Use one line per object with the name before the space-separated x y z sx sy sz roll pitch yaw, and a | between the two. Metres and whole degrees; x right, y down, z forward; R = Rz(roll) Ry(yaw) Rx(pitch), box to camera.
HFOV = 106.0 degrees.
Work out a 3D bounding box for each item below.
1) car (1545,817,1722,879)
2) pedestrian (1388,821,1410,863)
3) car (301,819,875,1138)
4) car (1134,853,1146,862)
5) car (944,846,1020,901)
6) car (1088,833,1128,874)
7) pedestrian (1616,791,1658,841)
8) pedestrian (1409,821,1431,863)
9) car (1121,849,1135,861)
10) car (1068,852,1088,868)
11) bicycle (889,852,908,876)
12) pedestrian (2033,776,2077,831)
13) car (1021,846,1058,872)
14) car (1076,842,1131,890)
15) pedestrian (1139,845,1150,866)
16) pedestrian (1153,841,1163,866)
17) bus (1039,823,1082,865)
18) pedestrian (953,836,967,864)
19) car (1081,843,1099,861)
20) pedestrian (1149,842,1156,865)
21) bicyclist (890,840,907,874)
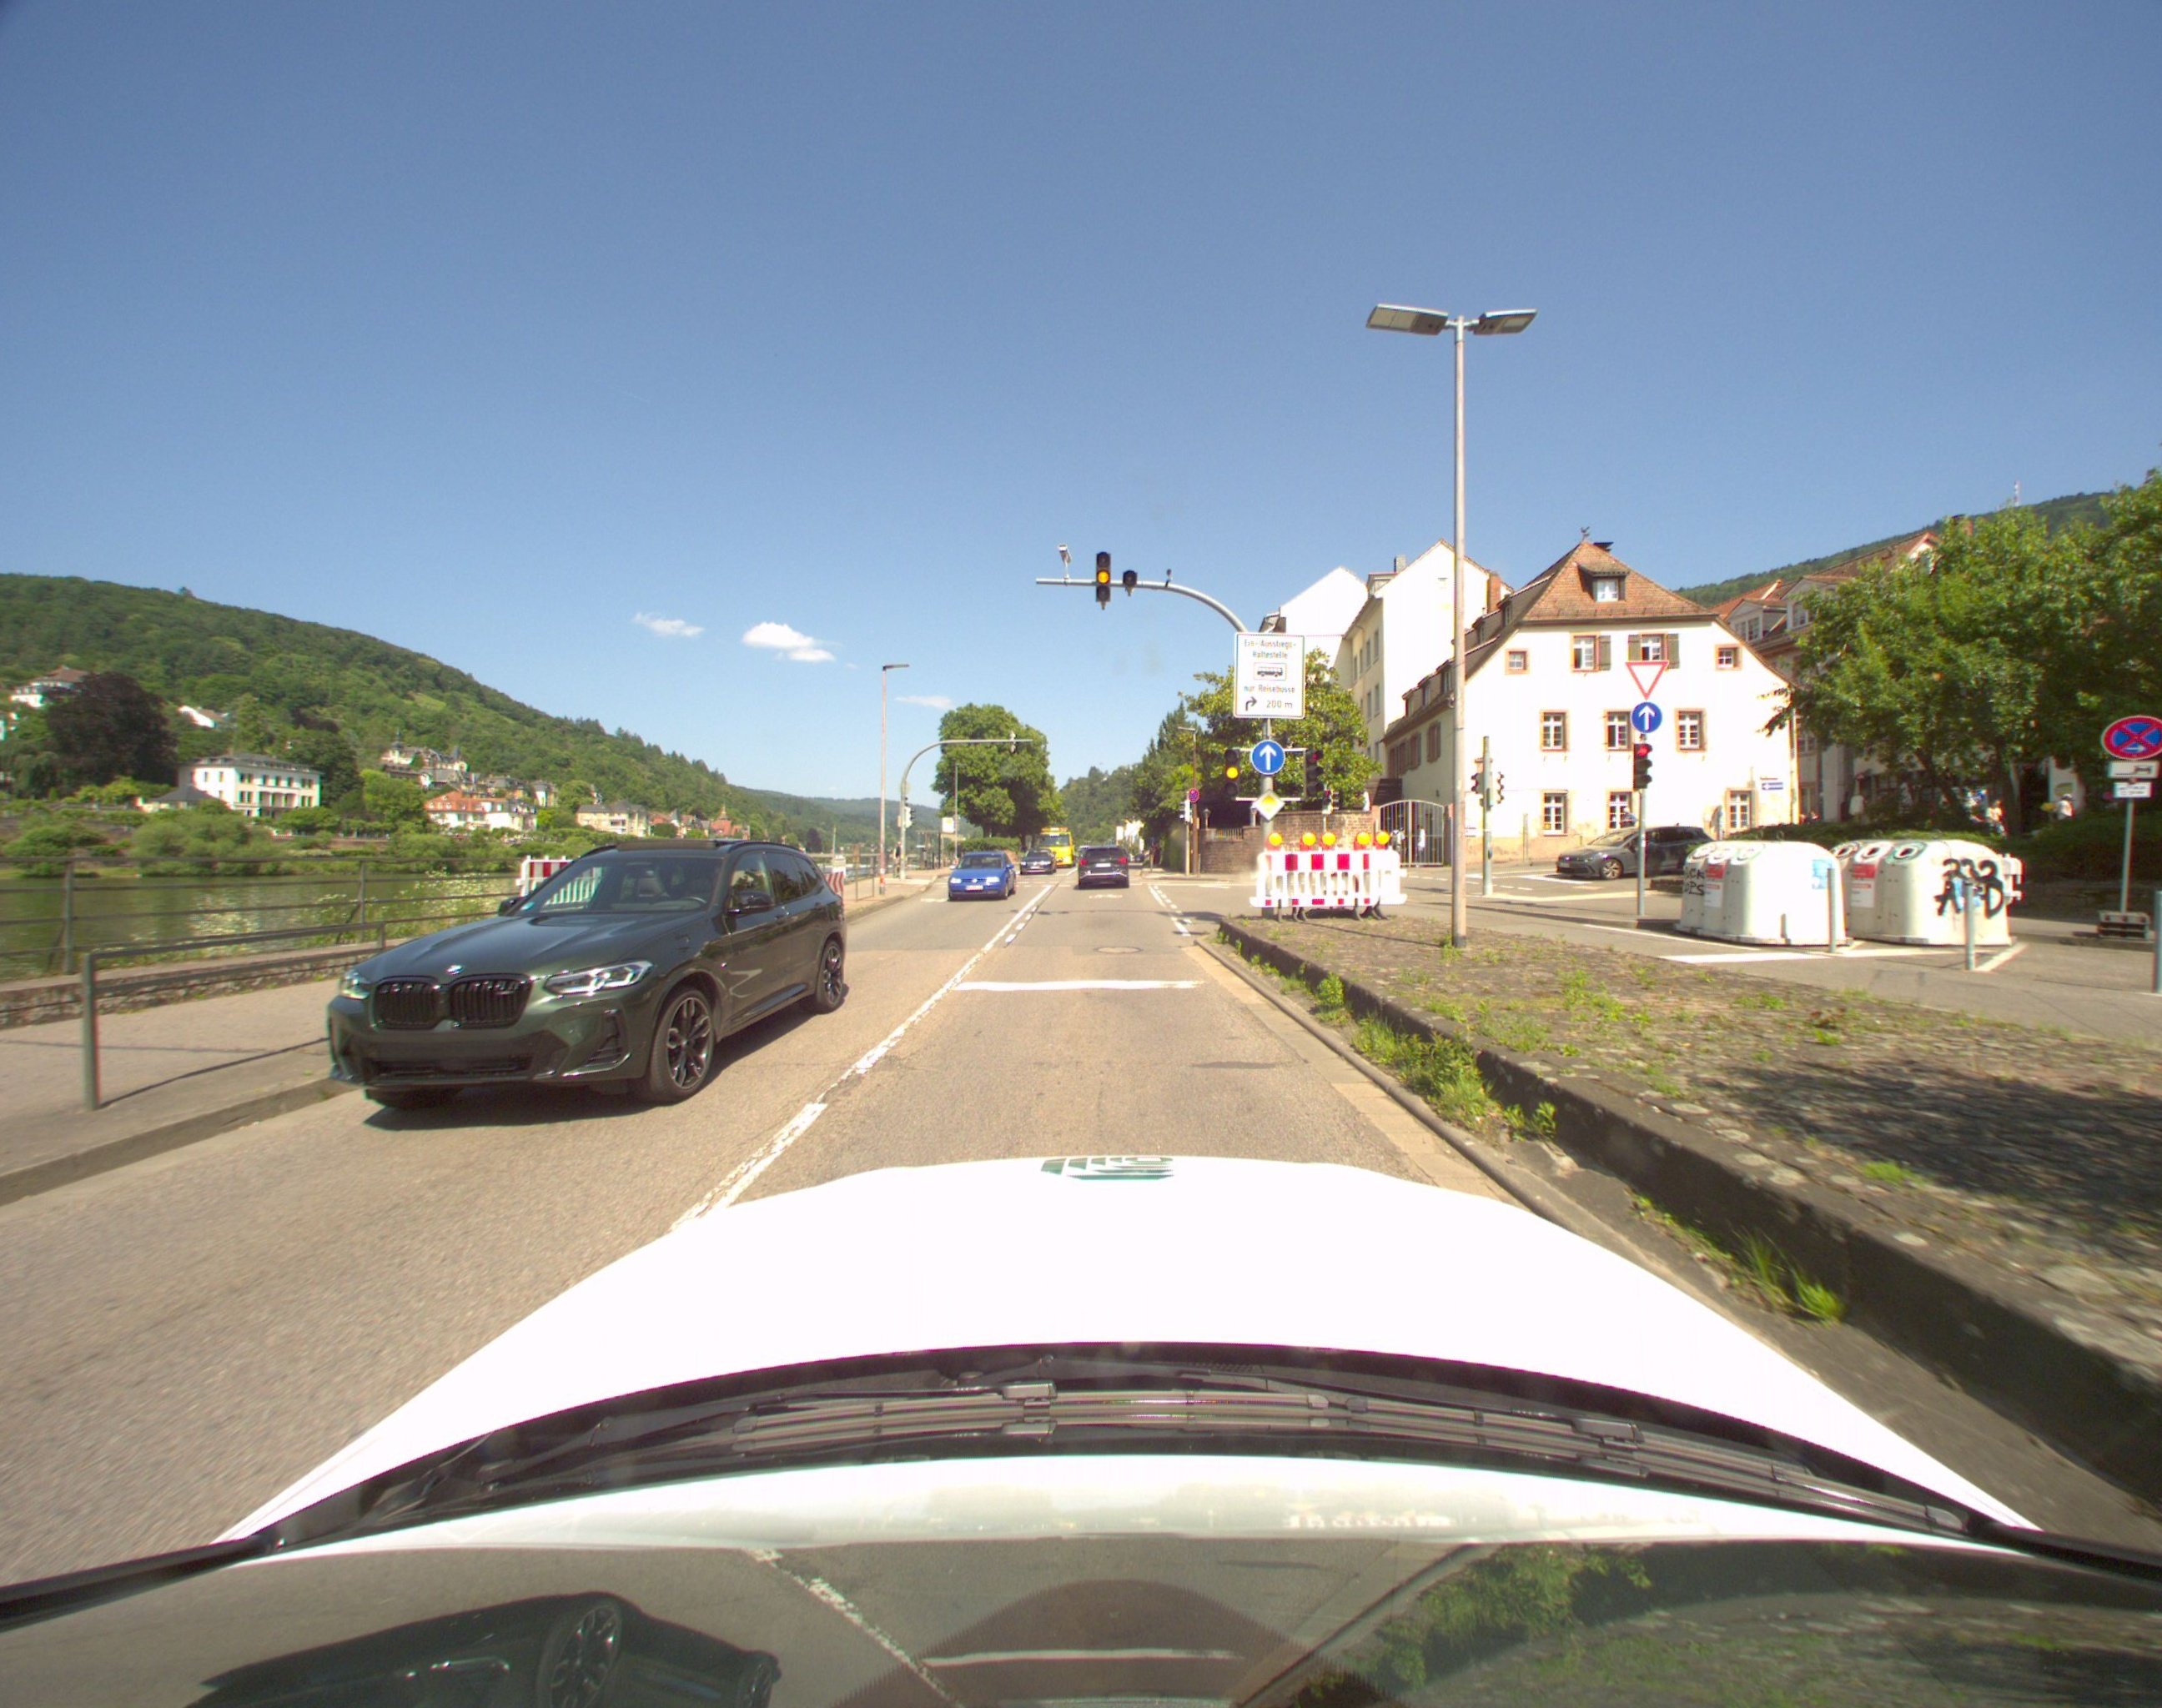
car | 16.222 -0.216 24.067 3.974 1.485 1.862 -4 4 0
pedestrian | 12.936 -0.486 33.119 0.716 1.705 0.712 -2 0 25
car | -3.242 0.668 6.650 1.856 1.681 4.455 -2 0 1
car | 10.392 0.643 143.573 1.985 1.453 4.012 -1 -2 4
car | -2.963 0.535 25.102 1.723 1.491 4.326 -2 0 1
car | 1.407 0.025 43.112 1.986 2.014 4.001 -1 -2 2
pedestrian | 20.756 -1.390 30.435 0.919 1.793 0.865 -3 0 4
pedestrian | 14.090 -0.510 33.844 0.699 1.705 0.730 -2 0 30
car | 6.356 0.130 109.989 1.787 1.482 4.004 0 0 3
car | -0.272 0.587 82.073 1.808 1.398 4.350 -2 1 3
bicycle | -8.867 0.467 39.630 0.666 1.113 2.029 -2 0 -7
pedestrian | 30.749 -1.584 25.714 0.451 1.681 0.663 -5 0 4
car | -2.350 0.248 46.608 1.802 1.406 4.357 -1 1 1
car | 0.812 0.383 29.628 1.850 1.523 4.002 -1 1 1
pedestrian | 5.011 0.110 64.433 0.724 1.650 0.883 -3 0 5
pedestrian | 5.302 -0.050 55.997 0.678 1.742 0.914 0 1 3
bus | -1.441 -0.741 60.564 2.587 2.896 8.452 -1 1 2
pedestrian | -8.695 -0.272 58.454 0.750 1.918 1.010 -1 -2 4
car | 1.166 -0.299 105.273 2.087 2.302 5.874 -1 1 3
pedestrian | 5.059 -0.025 57.702 0.453 1.606 0.580 -1 0 3
bicyclist | -8.877 0.156 39.616 0.666 1.632 0.977 -1 0 -7
